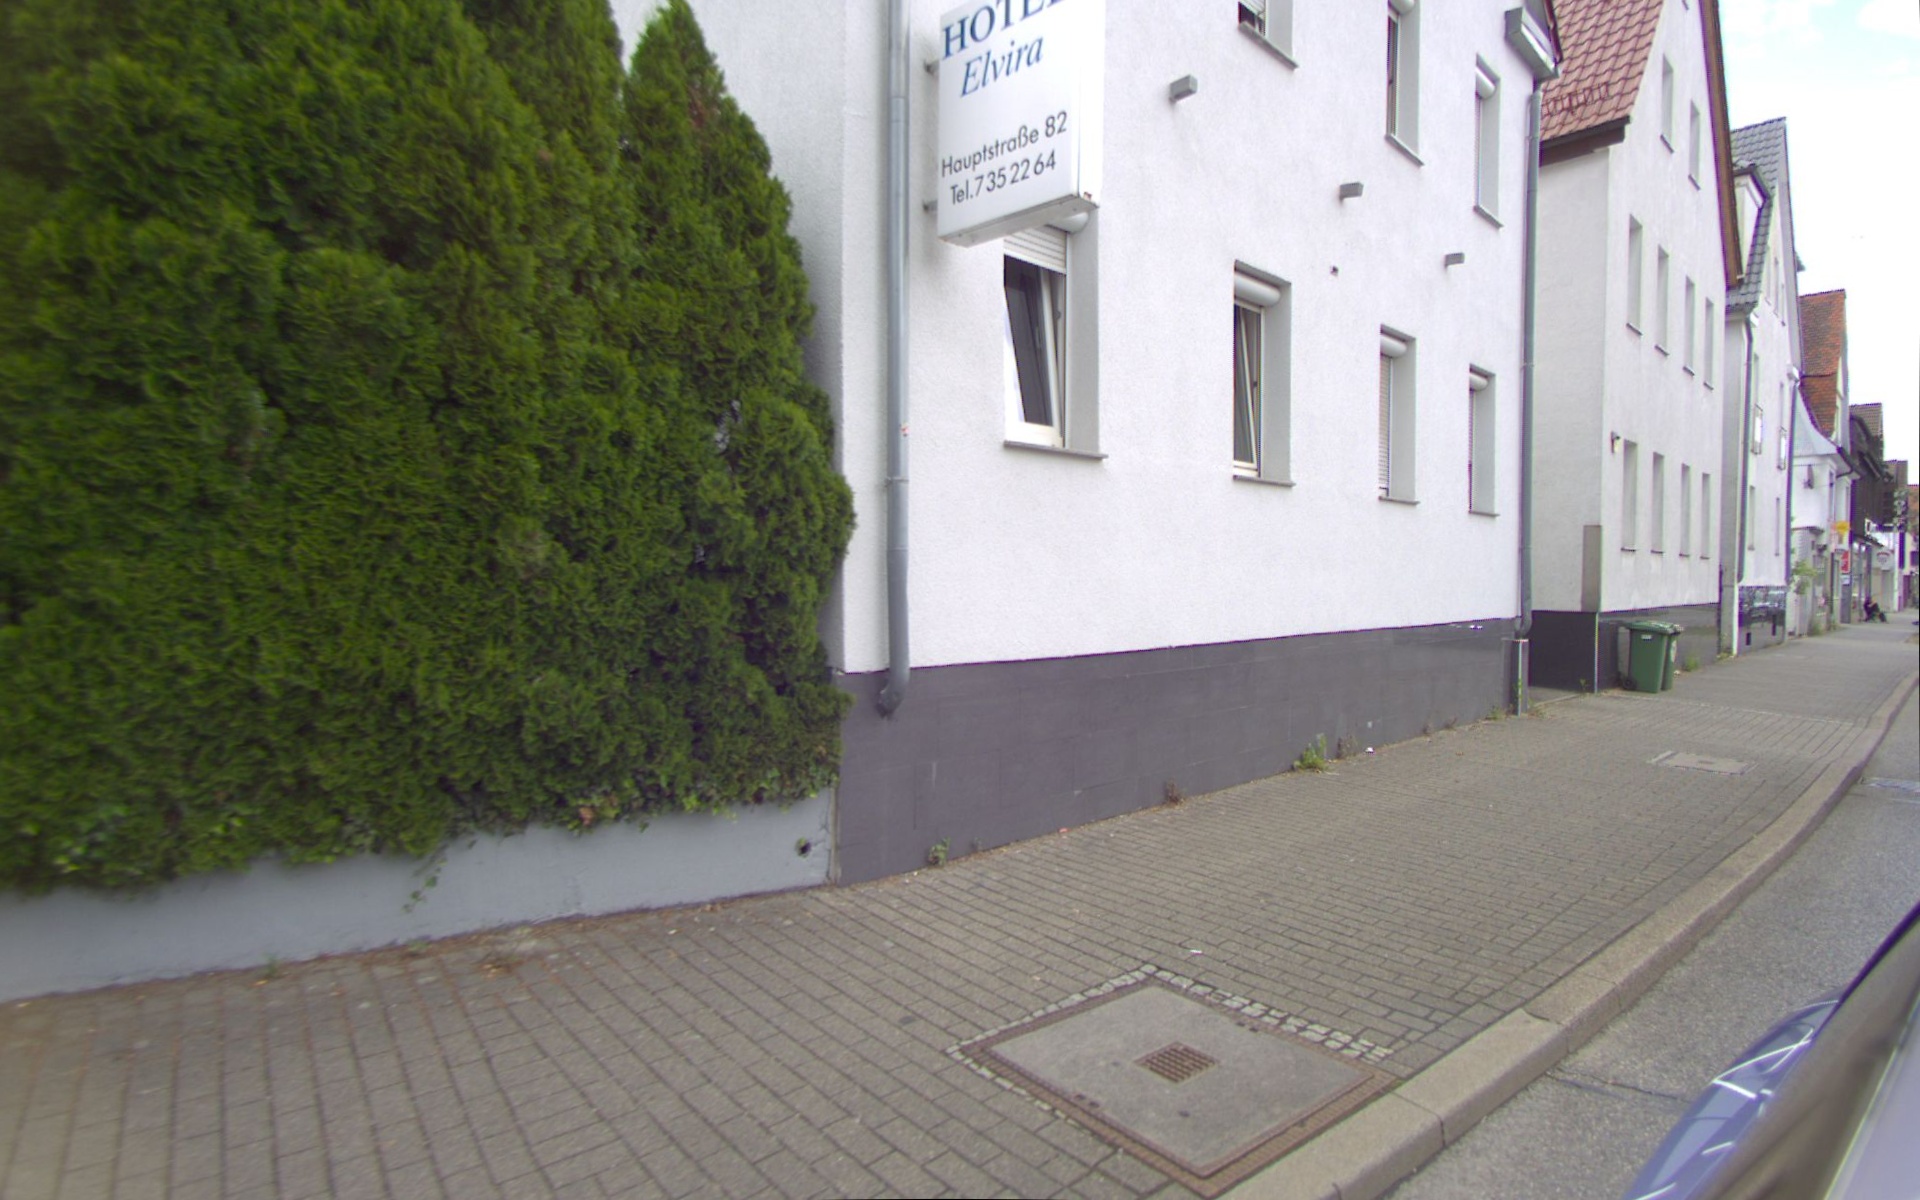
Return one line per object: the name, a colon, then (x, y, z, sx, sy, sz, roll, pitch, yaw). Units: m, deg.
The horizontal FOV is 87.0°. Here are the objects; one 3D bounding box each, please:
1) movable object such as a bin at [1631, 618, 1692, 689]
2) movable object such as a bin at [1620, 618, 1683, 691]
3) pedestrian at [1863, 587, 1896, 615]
movable object such as a bin: (9.720, 0.732, 14.021, 0.510, 0.914, 0.565, 0, 3, -43)
movable object such as a bin: (9.315, 0.720, 13.628, 0.510, 0.914, 0.565, 0, 3, -43)
pedestrian: (45.124, 0.048, 49.667, 0.653, 1.295, 0.985, 1, 2, -31)
